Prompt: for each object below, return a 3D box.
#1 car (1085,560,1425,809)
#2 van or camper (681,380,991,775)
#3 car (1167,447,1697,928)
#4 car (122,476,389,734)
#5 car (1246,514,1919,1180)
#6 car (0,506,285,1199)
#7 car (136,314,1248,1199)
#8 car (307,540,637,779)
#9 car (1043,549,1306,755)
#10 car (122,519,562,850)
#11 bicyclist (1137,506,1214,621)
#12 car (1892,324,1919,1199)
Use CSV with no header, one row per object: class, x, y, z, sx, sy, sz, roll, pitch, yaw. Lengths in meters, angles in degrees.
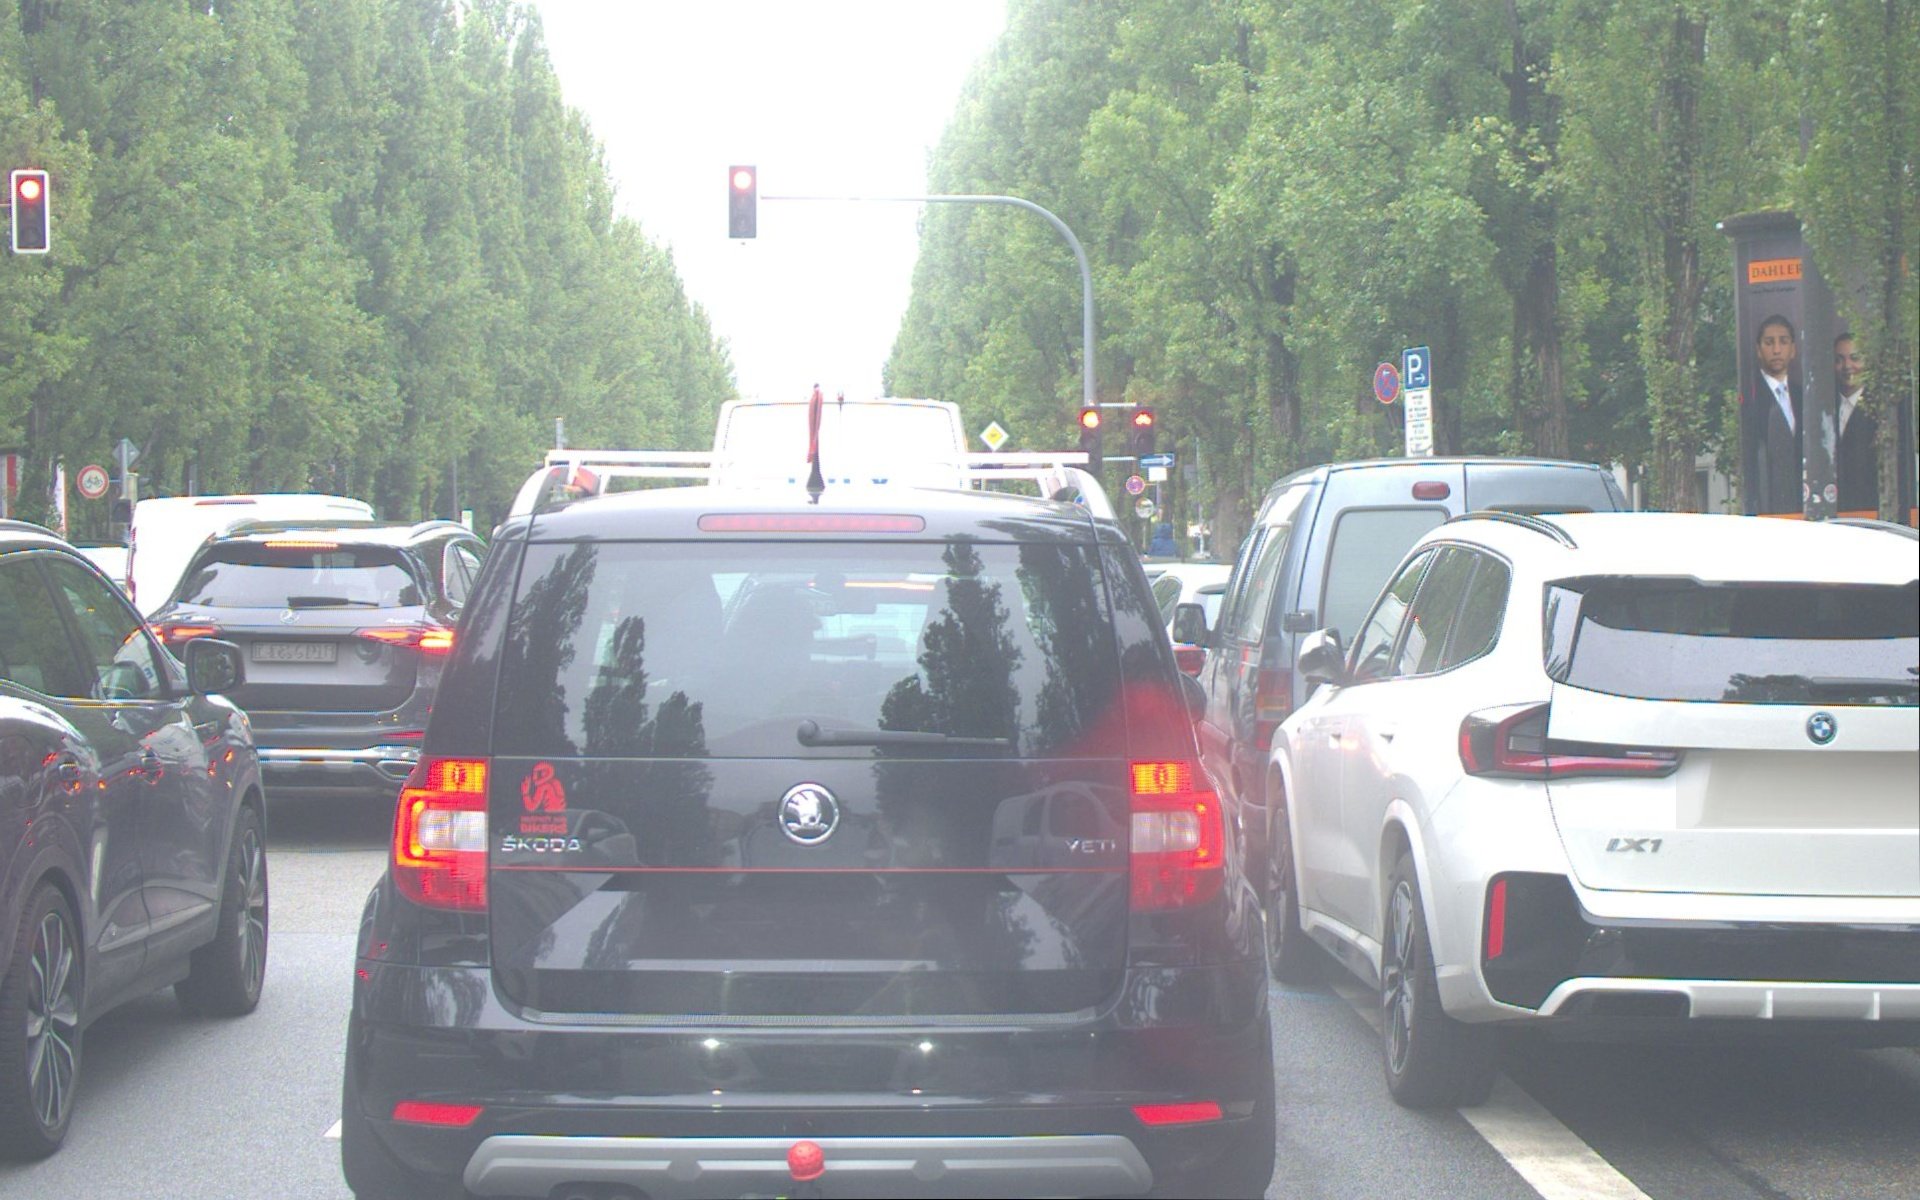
car,1.780,0.470,21.726,1.735,1.382,3.563,-1,1,-2
van or camper,-0.914,-0.190,24.302,1.975,2.540,4.025,-1,1,-3
car,1.996,0.301,15.650,1.735,1.889,4.025,-1,1,-2
car,-6.214,0.016,30.703,1.781,2.104,4.025,-2,1,-4
car,1.970,0.544,10.378,1.741,1.587,4.212,-1,1,-1
car,-3.137,0.541,9.462,1.835,1.580,4.186,1,1,-2
car,-0.502,0.385,7.839,1.855,1.764,4.000,1,1,-1
car,-3.493,0.367,25.293,1.993,1.555,4.001,-1,2,-2
car,1.621,0.356,27.026,1.735,1.470,3.563,-1,1,-2
car,-3.245,0.368,18.774,1.781,1.614,4.025,0,1,-2
bicyclist,3.264,-0.555,52.147,0.905,1.716,0.825,-1,1,-17
car,2.439,0.558,3.208,1.851,1.875,4.169,-1,1,-2
